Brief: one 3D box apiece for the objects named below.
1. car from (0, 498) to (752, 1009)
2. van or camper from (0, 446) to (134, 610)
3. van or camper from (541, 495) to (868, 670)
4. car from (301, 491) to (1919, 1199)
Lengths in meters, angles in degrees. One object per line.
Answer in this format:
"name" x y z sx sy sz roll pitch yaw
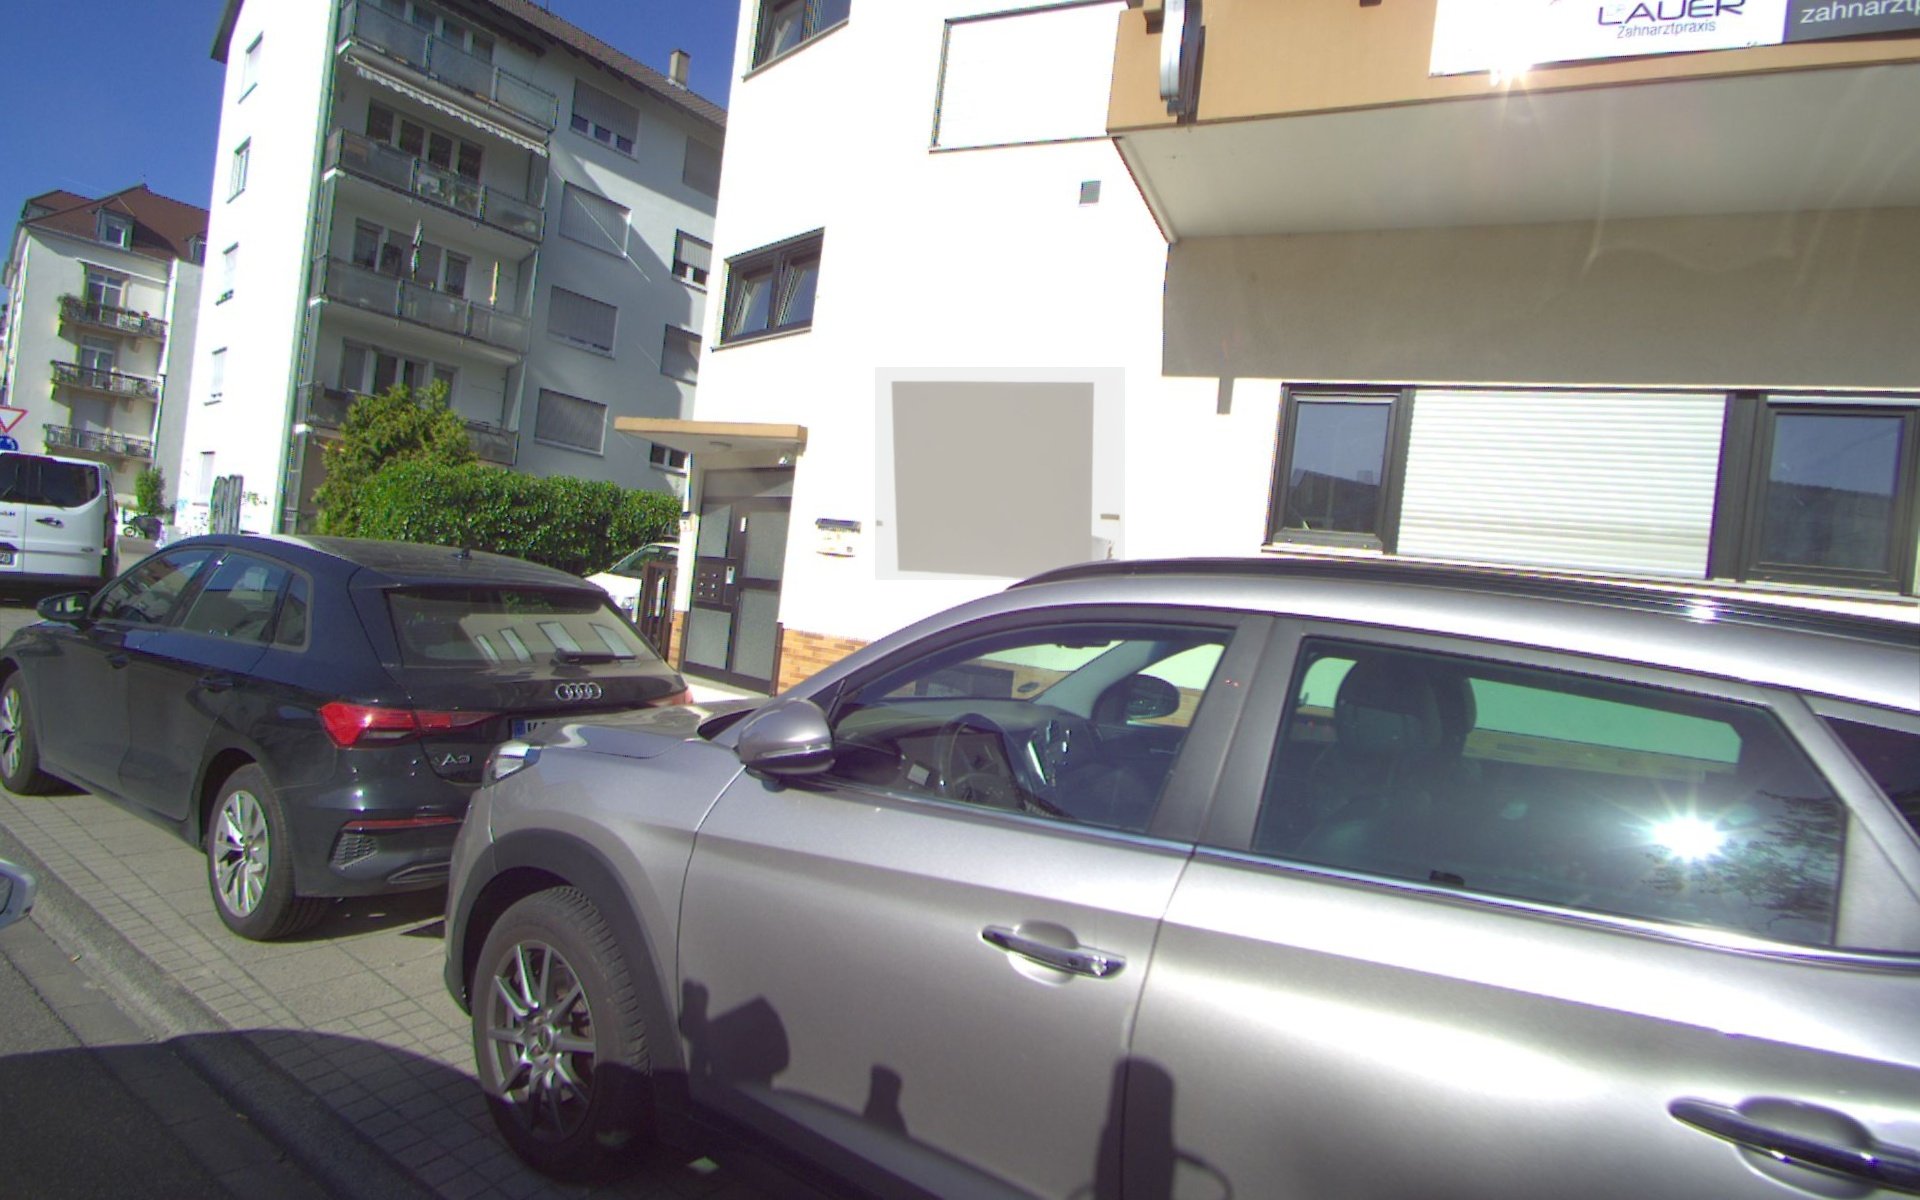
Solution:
"car" -3.217 0.386 4.992 4.245 1.427 1.717 7 2 34
"van or camper" -13.361 -1.092 14.358 2.013 1.972 4.644 4 2 -44
"van or camper" -4.129 -0.188 16.992 1.830 2.317 4.950 8 1 43
"car" 0.568 0.741 2.356 4.488 1.673 1.819 4 -2 34
